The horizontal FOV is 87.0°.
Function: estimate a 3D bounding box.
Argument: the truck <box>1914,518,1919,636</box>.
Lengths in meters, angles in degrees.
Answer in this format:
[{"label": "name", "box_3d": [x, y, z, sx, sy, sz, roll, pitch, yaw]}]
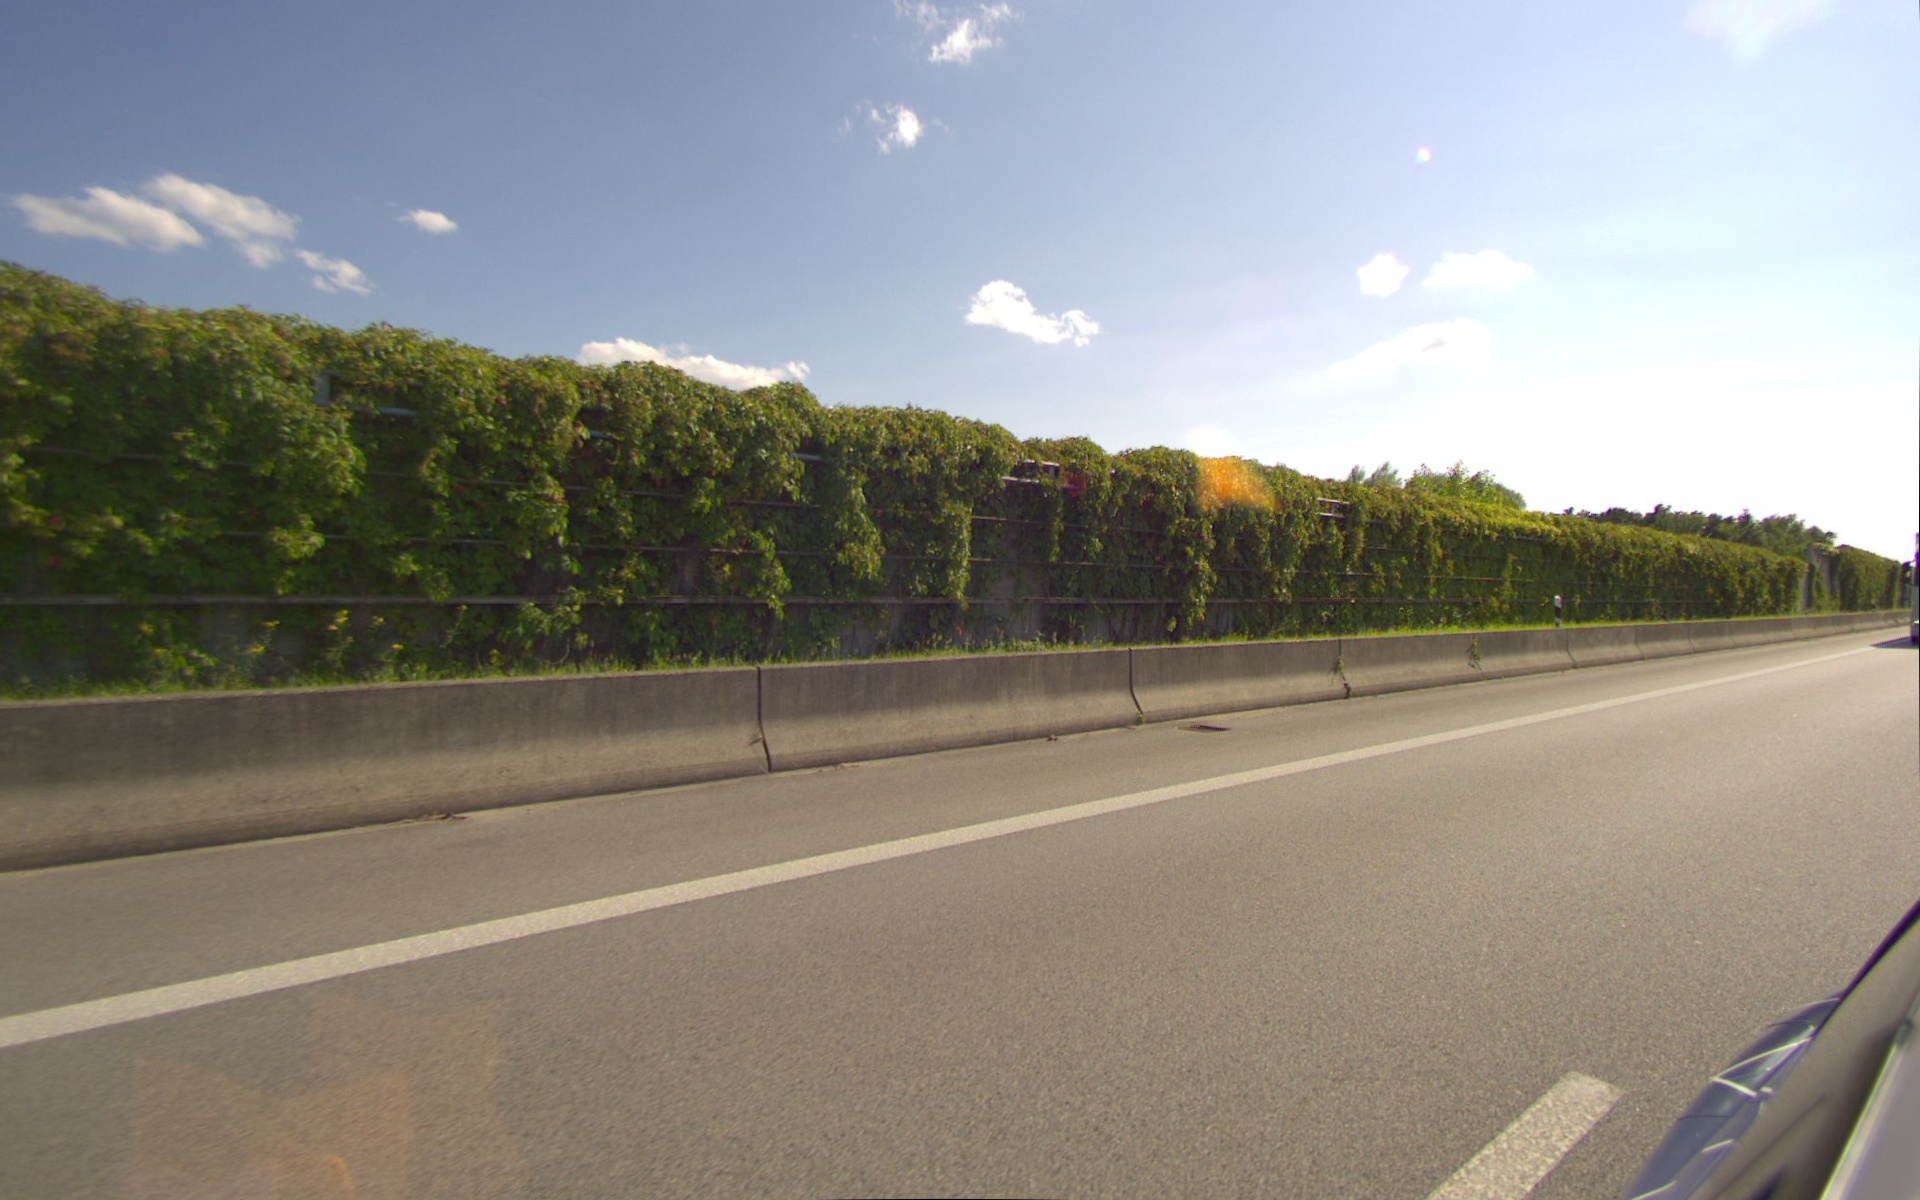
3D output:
[{"label": "truck", "box_3d": [36.080, -0.733, 35.847, 6.926, 4.015, 2.844, 0, 2, -44]}]
